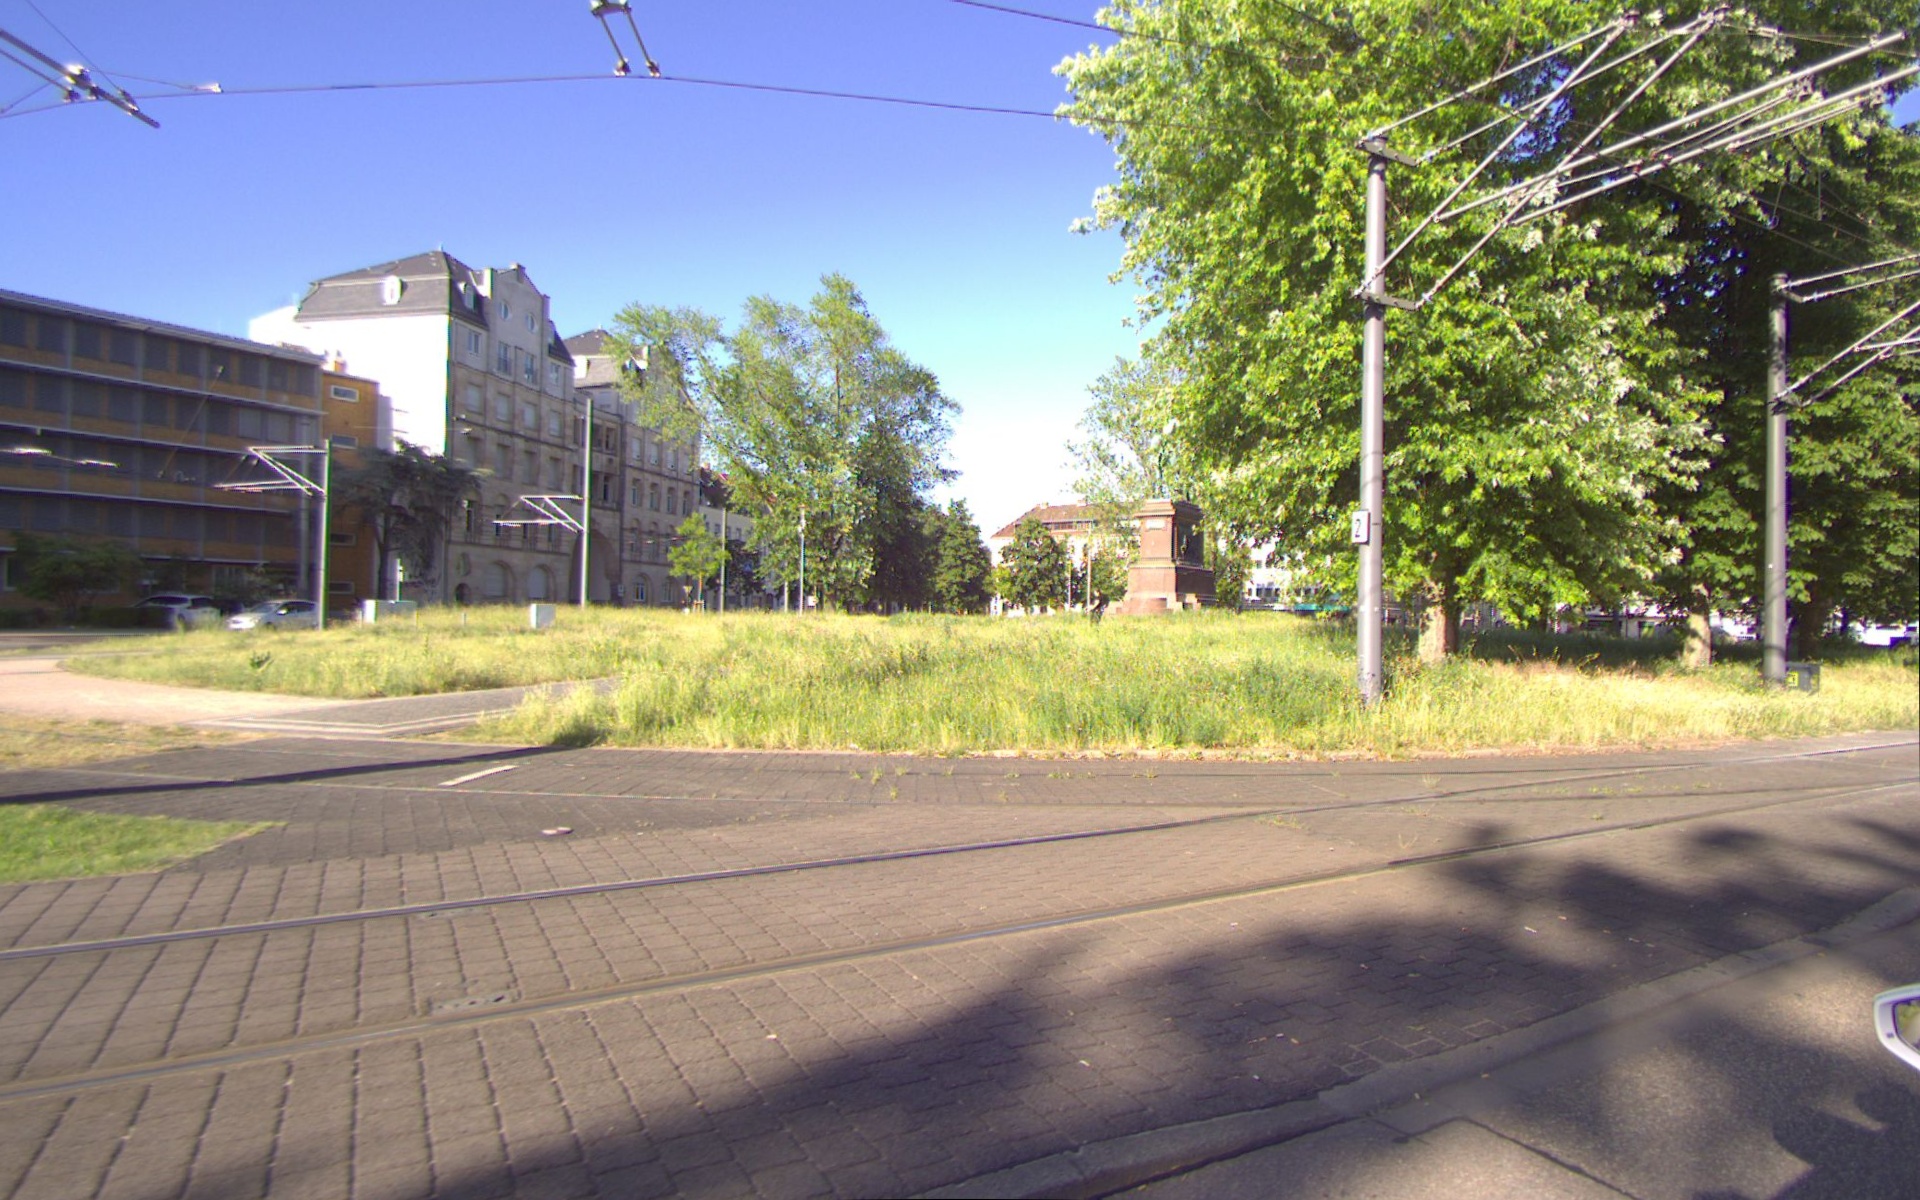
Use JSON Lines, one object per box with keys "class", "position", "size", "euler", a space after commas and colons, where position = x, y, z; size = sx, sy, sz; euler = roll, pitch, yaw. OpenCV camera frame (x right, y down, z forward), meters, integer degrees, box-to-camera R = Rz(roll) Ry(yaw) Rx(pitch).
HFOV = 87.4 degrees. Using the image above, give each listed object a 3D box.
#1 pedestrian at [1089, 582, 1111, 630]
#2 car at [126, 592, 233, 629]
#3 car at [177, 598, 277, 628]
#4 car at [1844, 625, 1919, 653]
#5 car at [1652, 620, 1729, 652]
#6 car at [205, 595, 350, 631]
{"class": "pedestrian", "position": [4.883, 0.219, 35.058], "size": [0.661, 1.637, 0.555], "euler": [3, 0, 8]}
{"class": "car", "position": [-39.421, 0.526, 50.793], "size": [3.919, 1.602, 2.001], "euler": [3, 0, 6]}
{"class": "car", "position": [-38.878, 0.688, 53.344], "size": [3.919, 1.359, 2.001], "euler": [3, 0, 6]}
{"class": "car", "position": [77.134, 3.258, 83.242], "size": [5.499, 2.040, 1.813], "euler": [3, 0, 34]}
{"class": "car", "position": [63.170, 3.106, 86.929], "size": [5.268, 2.344, 1.993], "euler": [3, 0, 37]}
{"class": "car", "position": [-28.966, 0.544, 42.782], "size": [1.962, 1.372, 4.763], "euler": [2, 1, 26]}
